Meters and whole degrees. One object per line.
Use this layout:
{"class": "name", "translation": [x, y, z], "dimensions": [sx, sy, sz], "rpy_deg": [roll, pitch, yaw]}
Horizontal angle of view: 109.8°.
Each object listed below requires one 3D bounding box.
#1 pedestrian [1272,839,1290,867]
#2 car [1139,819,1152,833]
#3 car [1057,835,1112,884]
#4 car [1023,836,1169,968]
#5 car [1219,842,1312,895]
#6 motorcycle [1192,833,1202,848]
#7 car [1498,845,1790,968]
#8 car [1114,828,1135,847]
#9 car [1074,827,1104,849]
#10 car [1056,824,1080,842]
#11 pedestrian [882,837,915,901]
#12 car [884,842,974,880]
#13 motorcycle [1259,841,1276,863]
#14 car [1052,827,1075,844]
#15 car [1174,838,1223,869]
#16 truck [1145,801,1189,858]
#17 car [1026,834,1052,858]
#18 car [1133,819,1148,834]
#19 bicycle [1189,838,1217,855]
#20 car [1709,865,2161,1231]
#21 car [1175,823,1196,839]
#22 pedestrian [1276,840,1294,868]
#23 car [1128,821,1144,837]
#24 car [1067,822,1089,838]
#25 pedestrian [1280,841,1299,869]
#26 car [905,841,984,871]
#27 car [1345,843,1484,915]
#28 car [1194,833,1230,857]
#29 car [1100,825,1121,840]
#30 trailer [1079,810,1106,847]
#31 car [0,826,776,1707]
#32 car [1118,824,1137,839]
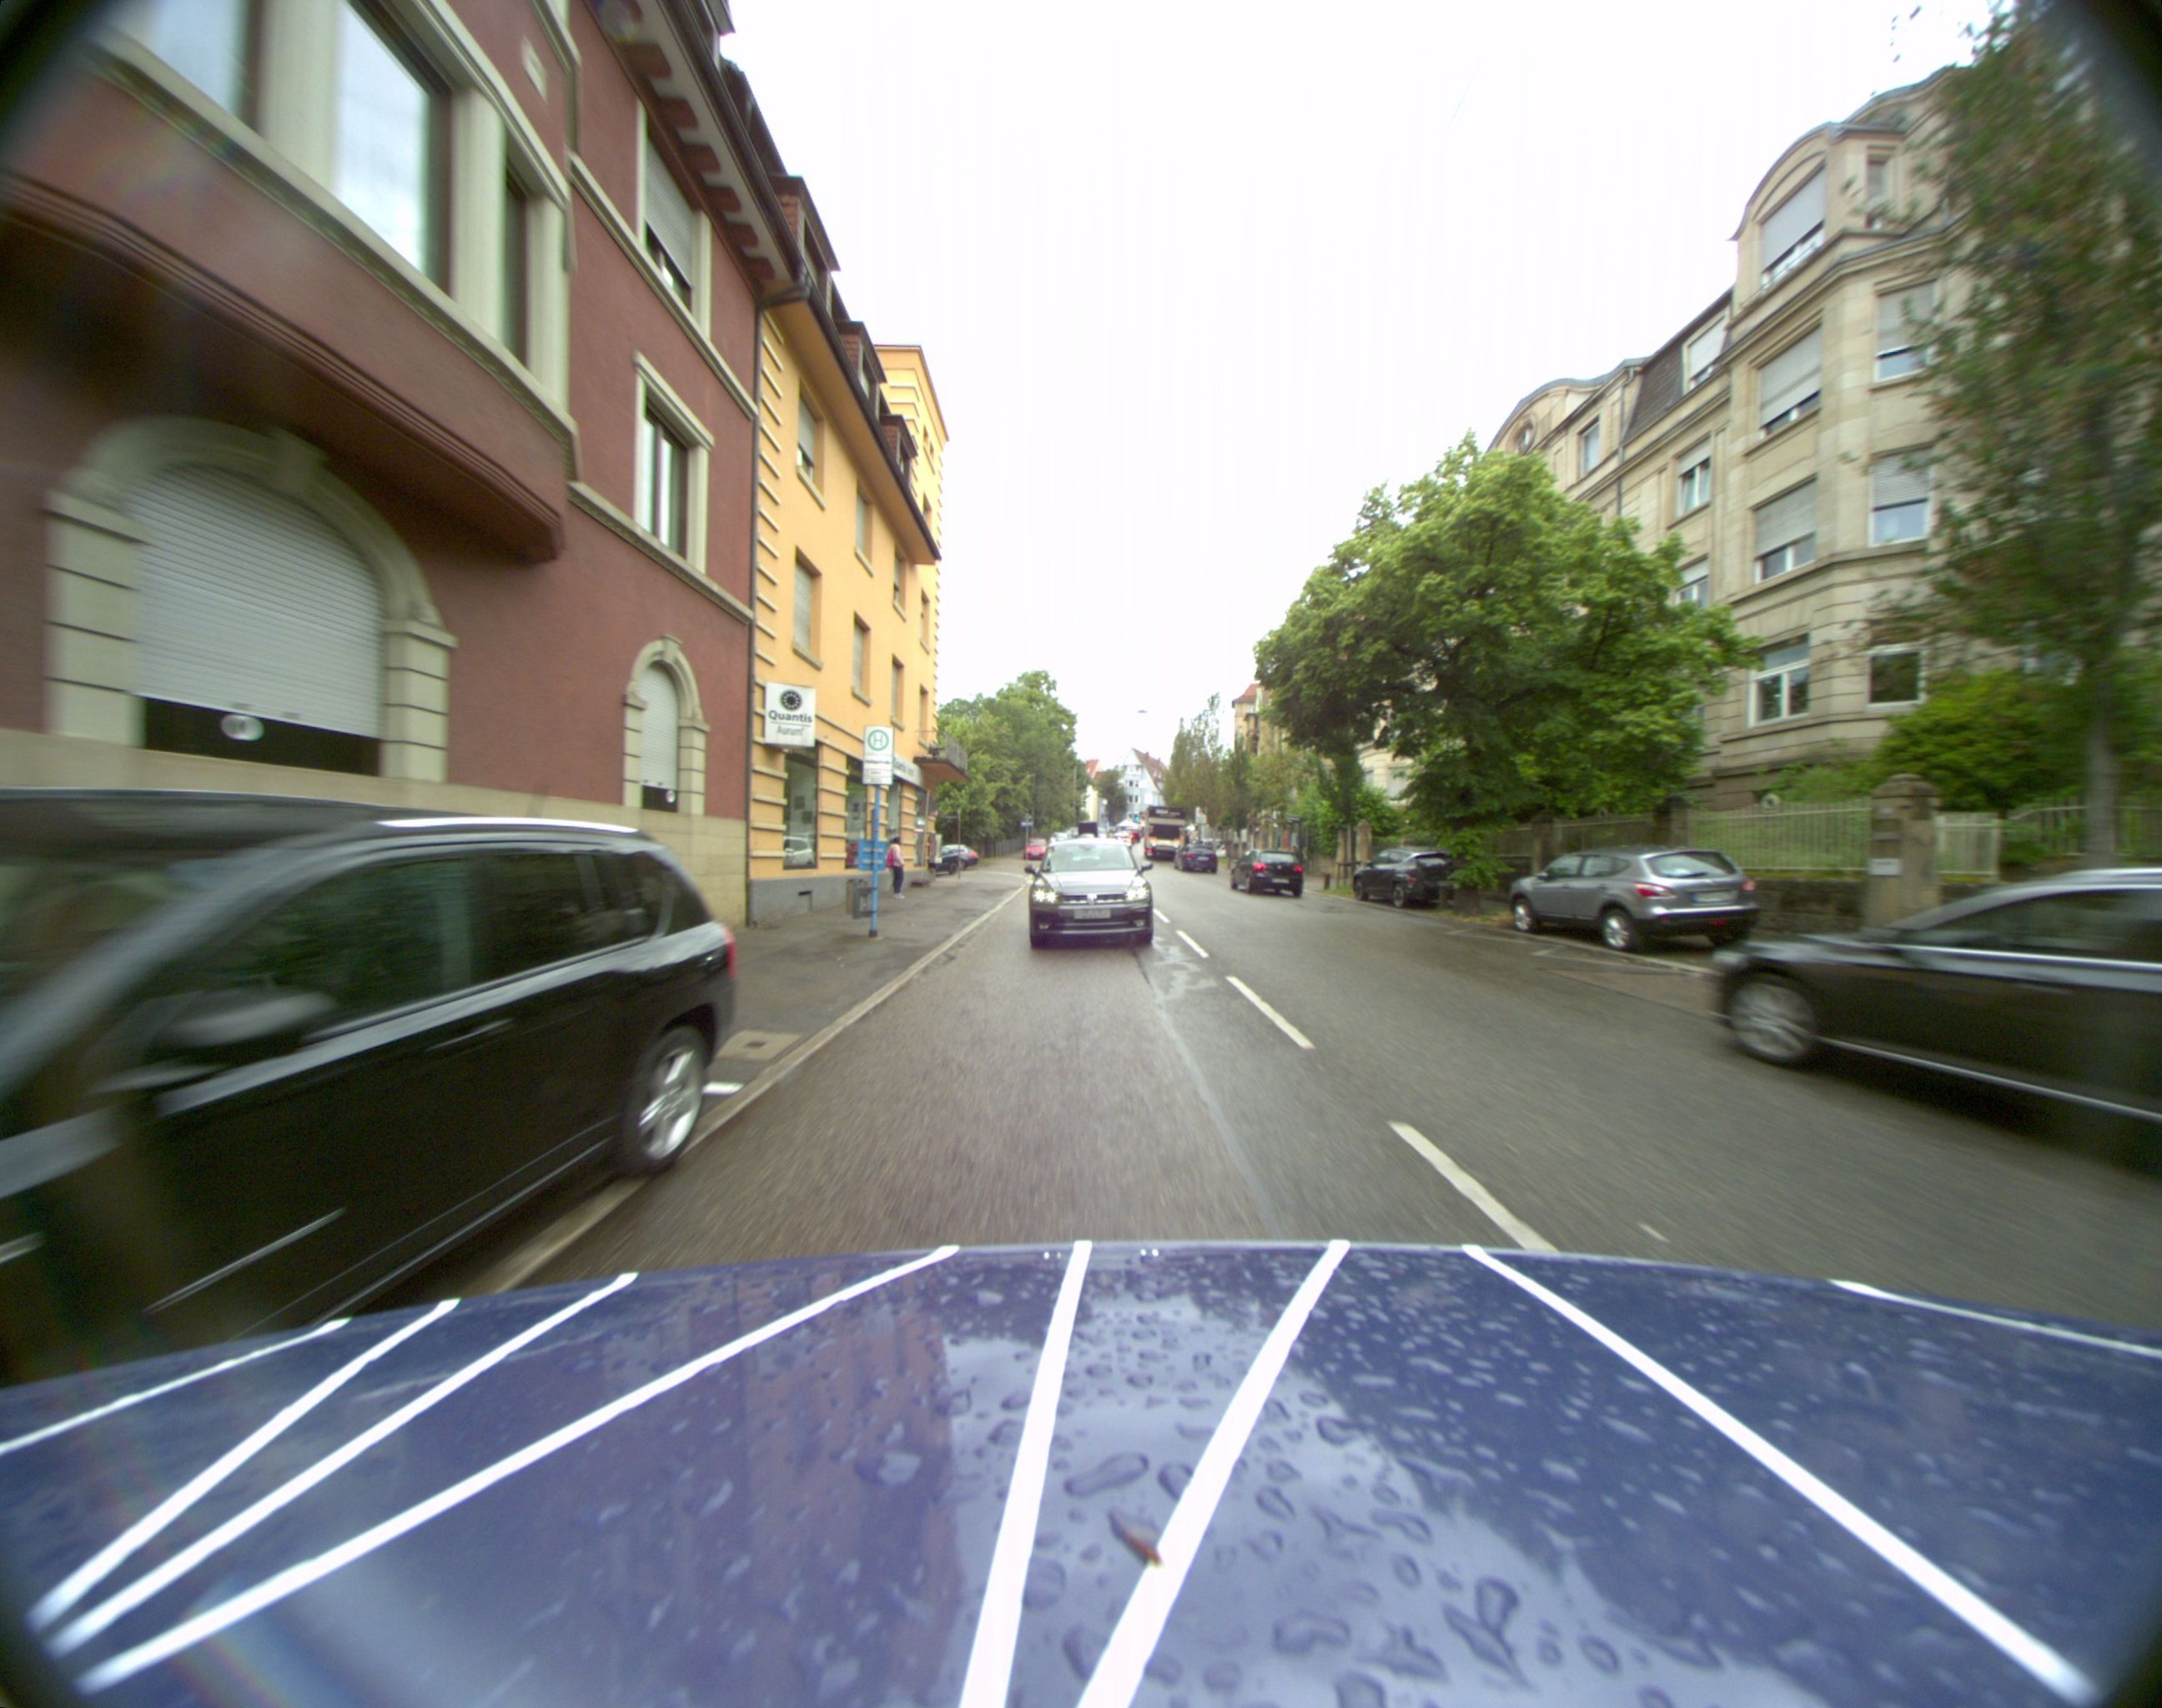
{"class": "pedestrian", "translation": [10.689, -0.049, 40.673], "dimensions": [0.768, 1.425, 0.759], "rpy_deg": [1, 3, 3]}
{"class": "car", "translation": [8.953, -3.885, 105.225], "dimensions": [1.655, 1.699, 4.113], "rpy_deg": [3, 4, 6]}
{"class": "car", "translation": [0.187, 0.145, 29.201], "dimensions": [1.925, 1.642, 4.485], "rpy_deg": [-1, 2, 2]}
{"class": "car", "translation": [0.198, 0.552, 12.309], "dimensions": [1.860, 1.642, 5.193], "rpy_deg": [0, 2, 0]}
{"class": "car", "translation": [6.097, 0.417, 25.677], "dimensions": [1.777, 1.509, 4.587], "rpy_deg": [-2, 2, -3]}
{"class": "motorcycle", "translation": [10.335, -1.209, 67.644], "dimensions": [0.657, 1.229, 1.981], "rpy_deg": [1, 3, 4]}
{"class": "car", "translation": [9.043, 0.708, 12.770], "dimensions": [1.746, 1.551, 4.300], "rpy_deg": [-1, 3, 1]}
{"class": "car", "translation": [3.846, -1.483, 67.244], "dimensions": [1.776, 1.509, 4.098], "rpy_deg": [1, 3, 3]}
{"class": "car", "translation": [0.684, -1.345, 62.726], "dimensions": [1.924, 1.642, 4.135], "rpy_deg": [-1, 2, 8]}
{"class": "car", "translation": [-1.350, -2.185, 78.548], "dimensions": [1.924, 1.642, 4.883], "rpy_deg": [4, 3, 4]}
{"class": "pedestrian", "translation": [-4.710, 0.369, 19.596], "dimensions": [0.769, 1.581, 0.710], "rpy_deg": [0, 3, -19]}
{"class": "car", "translation": [-7.385, 0.304, 37.261], "dimensions": [1.850, 1.461, 4.115], "rpy_deg": [-1, 5, 33]}
{"class": "motorcycle", "translation": [11.228, -0.111, 45.712], "dimensions": [0.657, 1.230, 1.762], "rpy_deg": [1, 3, 4]}
{"class": "car", "translation": [-1.686, -1.787, 73.149], "dimensions": [1.745, 1.455, 4.882], "rpy_deg": [4, 3, 3]}
{"class": "car", "translation": [6.320, -0.055, 41.332], "dimensions": [1.777, 1.459, 4.746], "rpy_deg": [3, 2, -1]}
{"class": "truck", "translation": [6.307, -1.837, 57.142], "dimensions": [2.654, 3.833, 9.306], "rpy_deg": [2, 2, 3]}
{"class": "car", "translation": [-2.977, -0.590, 54.109], "dimensions": [1.613, 1.494, 3.956], "rpy_deg": [1, 3, 0]}
{"class": "car", "translation": [7.743, -3.574, 98.382], "dimensions": [1.655, 1.699, 4.113], "rpy_deg": [3, 4, 6]}
{"class": "bicycle", "translation": [9.357, -0.580, 58.224], "dimensions": [1.980, 1.229, 0.657], "rpy_deg": [1, 3, 0]}
{"class": "car", "translation": [5.677, 0.915, 3.442], "dimensions": [1.820, 1.509, 4.546], "rpy_deg": [1, 2, 0]}
{"class": "car", "translation": [11.037, -2.450, 80.660], "dimensions": [2.000, 1.587, 3.827], "rpy_deg": [-3, 3, 5]}
{"class": "pedestrian", "translation": [10.772, -0.012, 40.085], "dimensions": [0.768, 1.425, 0.649], "rpy_deg": [1, 3, 2]}
{"class": "car", "translation": [6.403, -2.882, 88.010], "dimensions": [1.655, 1.699, 4.113], "rpy_deg": [3, 4, 6]}
{"class": "car", "translation": [-0.296, -2.819, 88.646], "dimensions": [1.971, 1.642, 4.815], "rpy_deg": [4, 4, 6]}
{"class": "pedestrian", "translation": [10.859, 0.024, 39.570], "dimensions": [0.768, 1.425, 0.649], "rpy_deg": [1, 3, 2]}
{"class": "car", "translation": [-7.893, 0.128, 44.281], "dimensions": [4.280, 1.490, 2.001], "rpy_deg": [-3, 1, -5]}
{"class": "car", "translation": [8.980, 0.589, 20.898], "dimensions": [1.746, 1.551, 4.299], "rpy_deg": [-3, 3, -3]}
{"class": "car", "translation": [9.501, -0.664, 55.229], "dimensions": [1.746, 1.551, 4.299], "rpy_deg": [-2, 3, -2]}
{"class": "car", "translation": [3.309, -2.408, 84.206], "dimensions": [1.924, 1.642, 4.135], "rpy_deg": [-1, 2, 7]}
{"class": "trailer", "translation": [1.012, -2.197, 65.100], "dimensions": [1.966, 3.025, 2.365], "rpy_deg": [-1, 3, 8]}
{"class": "car", "translation": [-2.803, 0.803, 2.167], "dimensions": [1.881, 1.621, 4.695], "rpy_deg": [3, 3, 1]}
{"class": "car", "translation": [4.911, -2.358, 79.691], "dimensions": [1.715, 1.472, 4.114], "rpy_deg": [3, 3, 6]}
